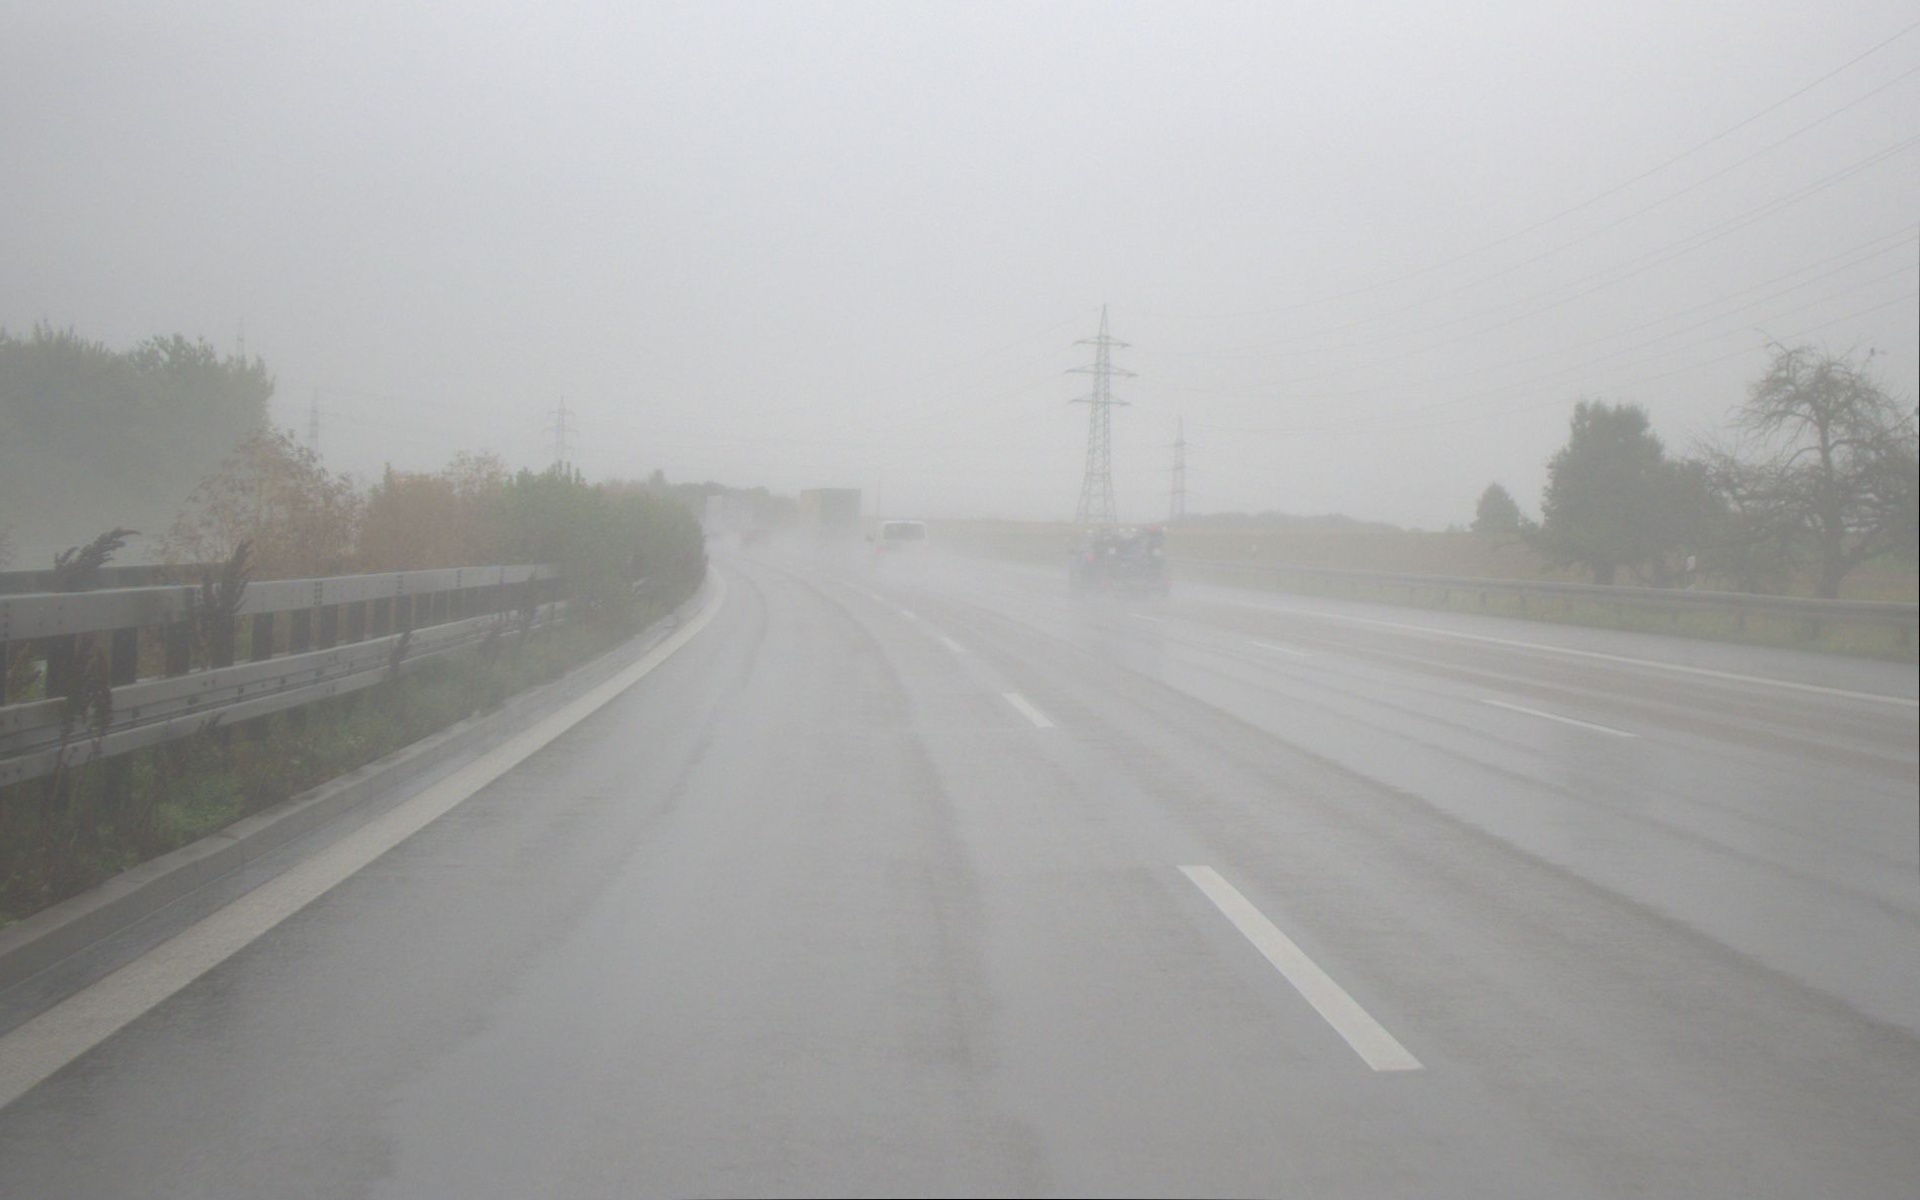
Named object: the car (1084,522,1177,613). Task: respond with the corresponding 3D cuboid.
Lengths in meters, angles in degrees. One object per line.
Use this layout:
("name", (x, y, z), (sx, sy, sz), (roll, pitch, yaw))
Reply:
("car", (4.172, -0.814, 84.534), (1.807, 2.151, 4.001), (1, 1, -3))

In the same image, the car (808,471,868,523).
("car", (-7.752, -6.484, 217.626), (3.199, 3.182, 7.258), (1, 1, -7))
